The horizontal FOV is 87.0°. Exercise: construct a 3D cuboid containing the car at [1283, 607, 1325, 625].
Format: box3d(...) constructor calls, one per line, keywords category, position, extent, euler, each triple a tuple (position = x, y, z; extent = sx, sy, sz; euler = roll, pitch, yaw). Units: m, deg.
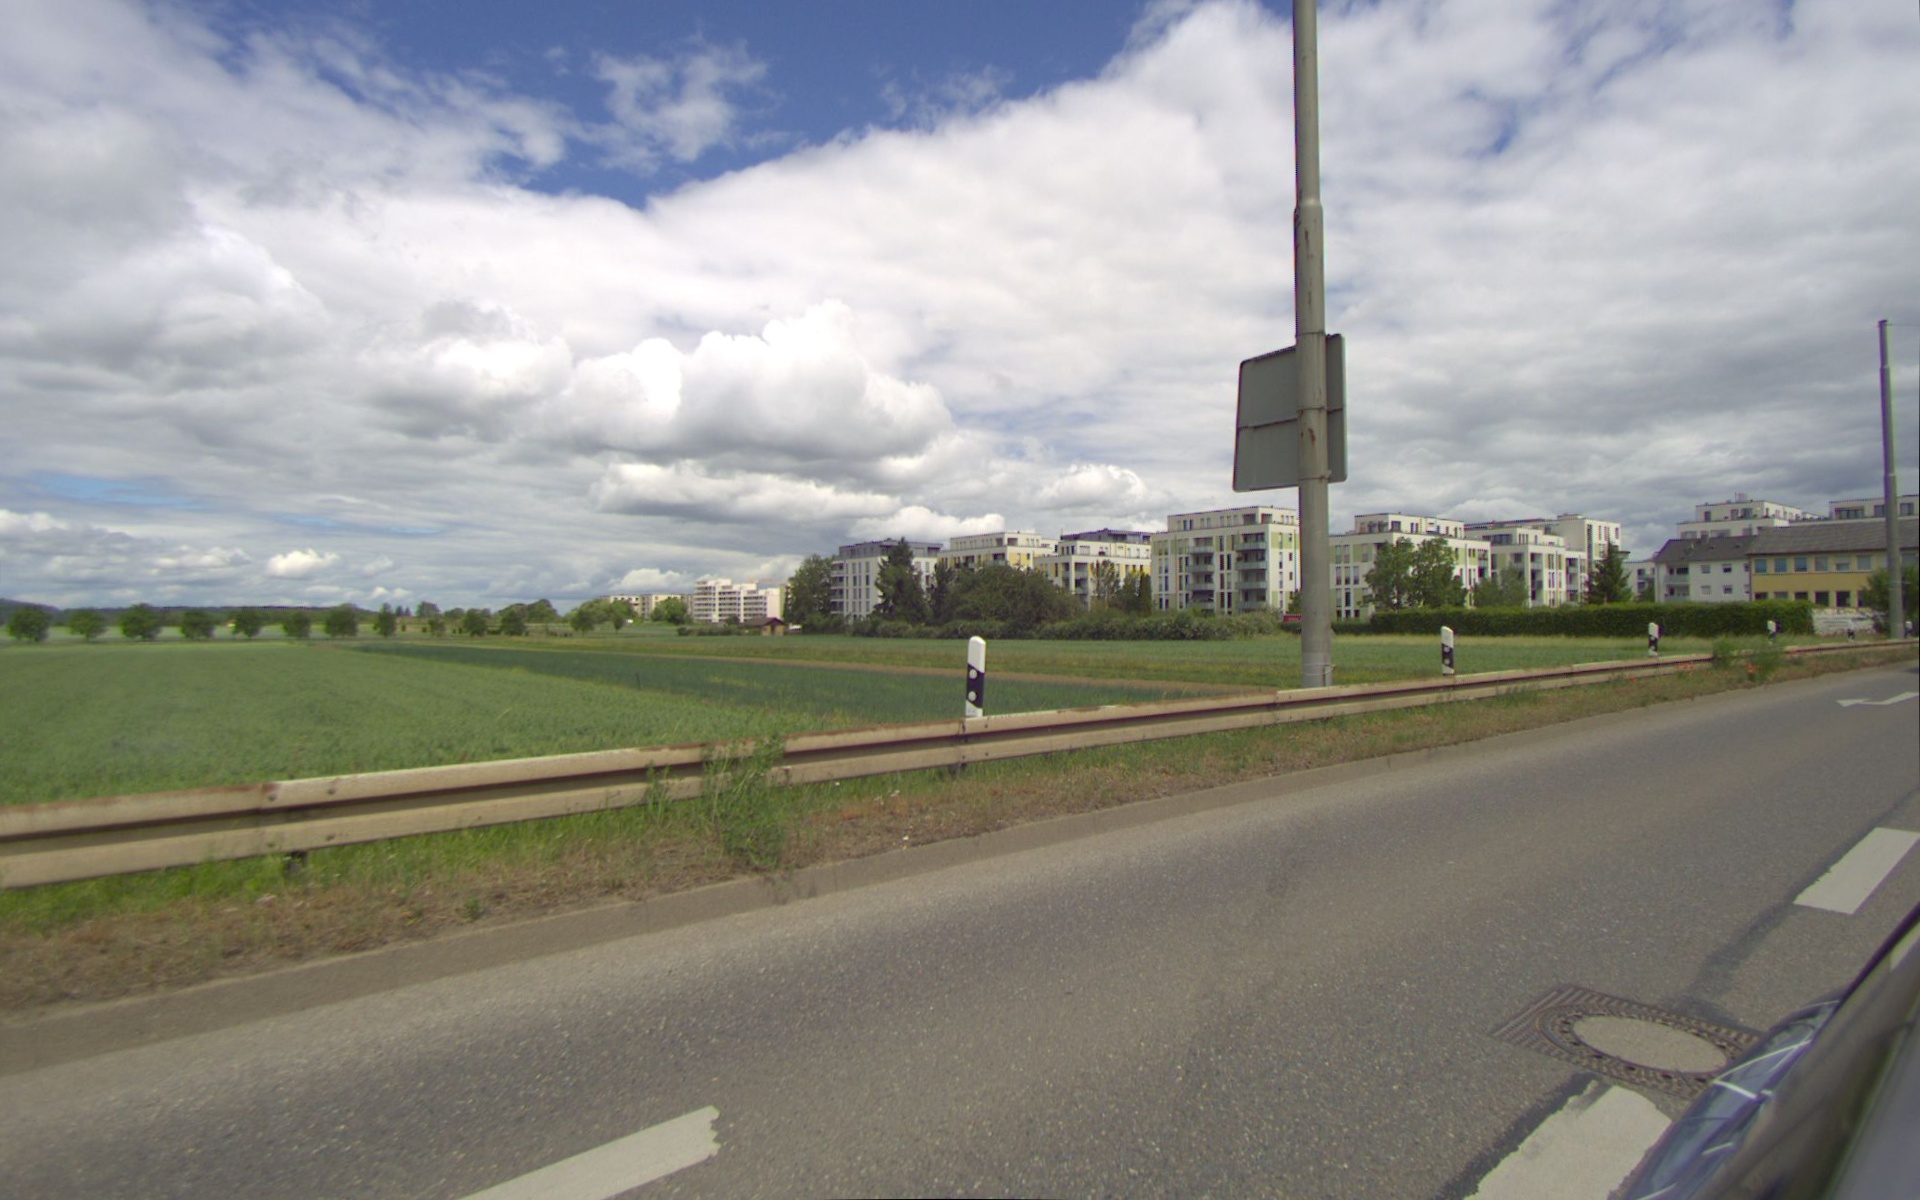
box3d(category="car", position=(41.407, 1.886, 121.747), extent=(1.965, 2.039, 4.432), euler=(0, 0, -41))
